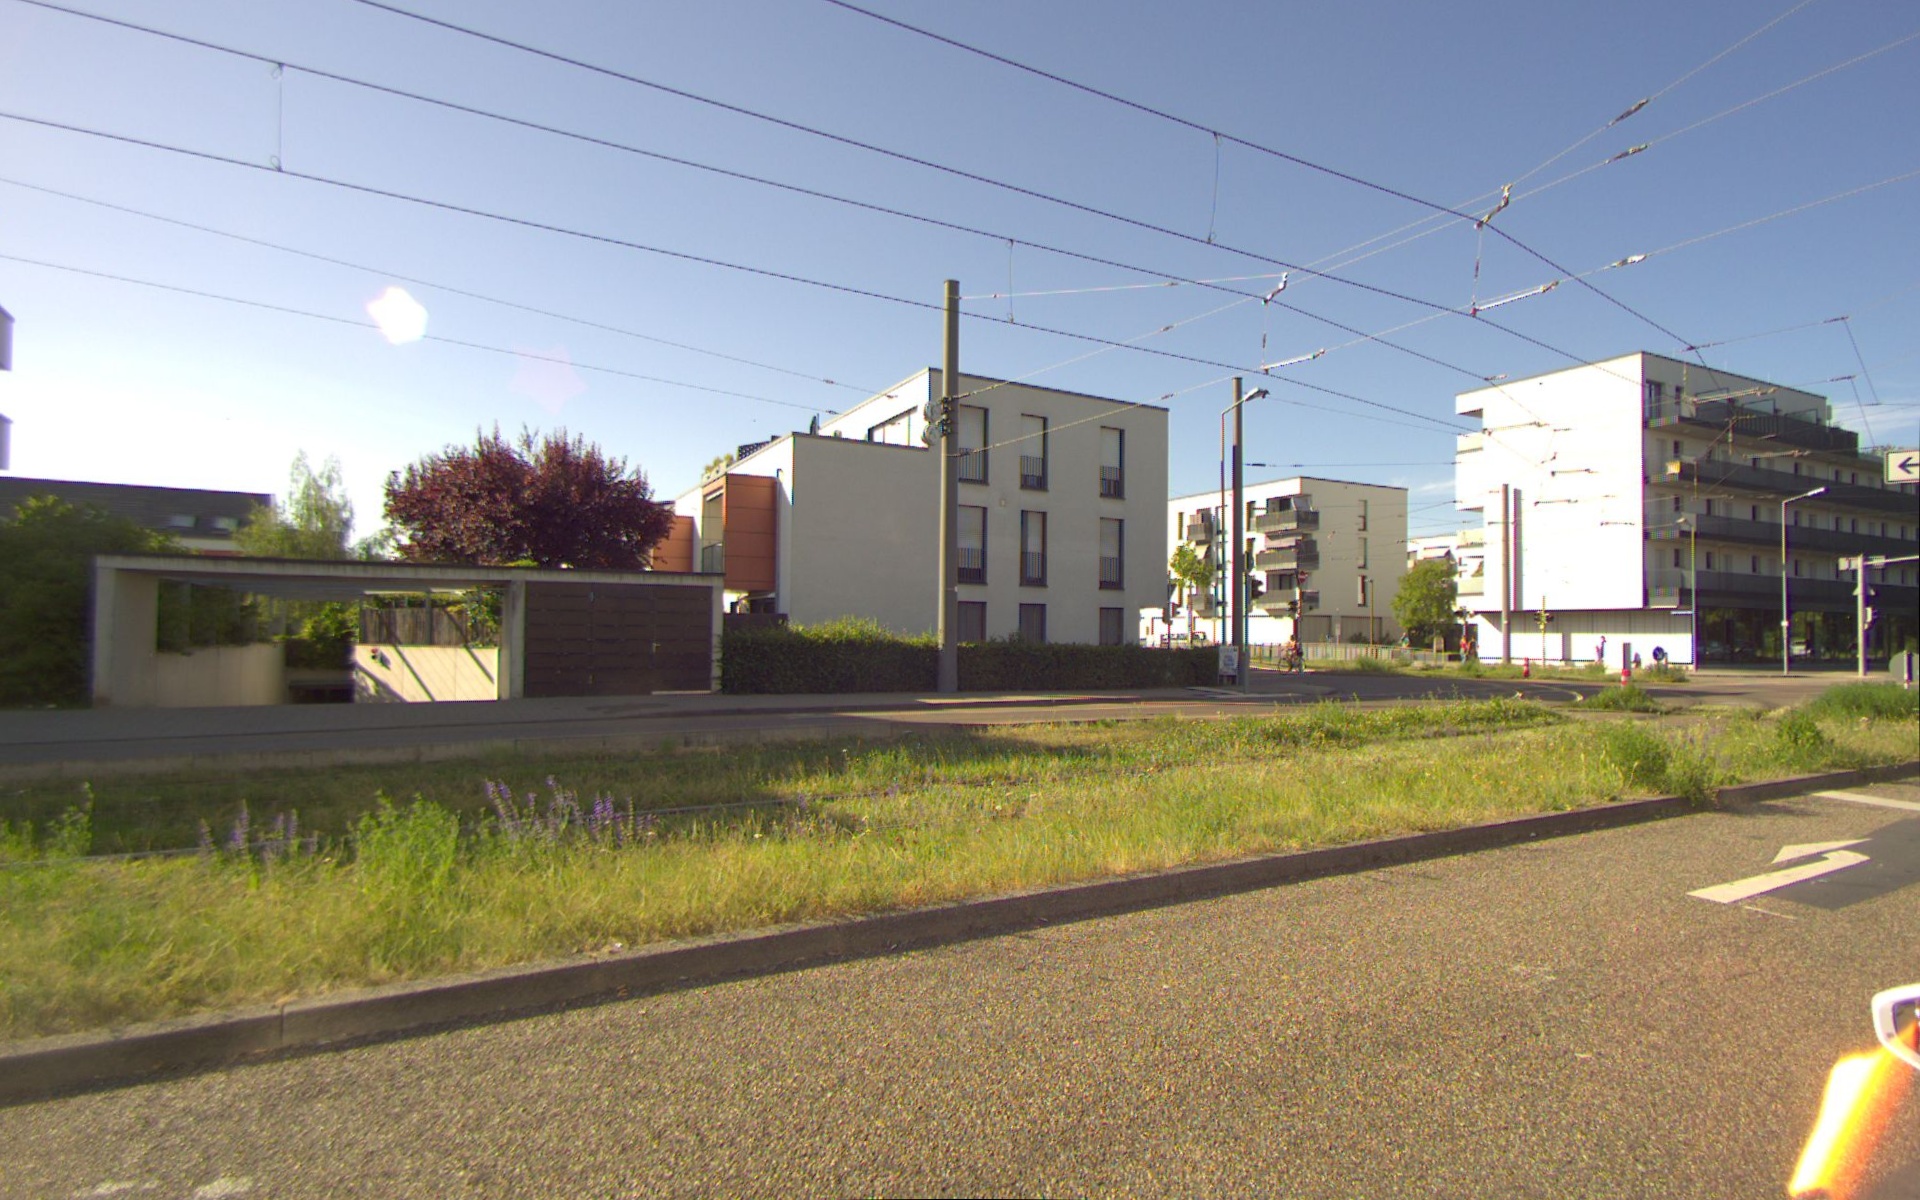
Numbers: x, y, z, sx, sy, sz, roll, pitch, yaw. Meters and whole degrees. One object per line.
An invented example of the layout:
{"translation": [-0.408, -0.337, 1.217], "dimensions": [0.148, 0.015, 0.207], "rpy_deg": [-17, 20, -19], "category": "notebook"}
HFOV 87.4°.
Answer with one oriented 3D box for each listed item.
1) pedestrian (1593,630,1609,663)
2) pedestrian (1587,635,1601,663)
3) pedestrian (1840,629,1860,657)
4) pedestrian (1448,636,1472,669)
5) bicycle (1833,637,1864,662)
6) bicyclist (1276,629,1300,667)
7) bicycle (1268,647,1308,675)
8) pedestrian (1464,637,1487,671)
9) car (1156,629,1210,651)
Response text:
{"translation": [35.002, 2.539, 54.848], "dimensions": [0.513, 1.767, 0.539], "rpy_deg": [2, 0, -35], "category": "pedestrian"}
{"translation": [34.485, 2.663, 54.618], "dimensions": [0.513, 1.523, 0.438], "rpy_deg": [2, 0, -35], "category": "pedestrian"}
{"translation": [48.946, 2.372, 55.256], "dimensions": [0.589, 1.529, 0.640], "rpy_deg": [2, 0, -29], "category": "pedestrian"}
{"translation": [25.033, 2.630, 50.299], "dimensions": [0.736, 1.626, 0.765], "rpy_deg": [2, 0, -37], "category": "pedestrian"}
{"translation": [48.860, 2.730, 55.229], "dimensions": [1.889, 1.350, 0.627], "rpy_deg": [2, 0, -29], "category": "bicycle"}
{"translation": [14.469, 2.109, 44.318], "dimensions": [0.634, 1.635, 0.777], "rpy_deg": [2, 0, -35], "category": "bicyclist"}
{"translation": [14.491, 2.679, 44.407], "dimensions": [1.845, 1.139, 0.813], "rpy_deg": [2, 0, -40], "category": "bicycle"}
{"translation": [25.454, 2.640, 49.606], "dimensions": [0.736, 1.626, 0.765], "rpy_deg": [2, 0, -37], "category": "pedestrian"}
{"translation": [17.776, 3.168, 80.325], "dimensions": [1.974, 1.595, 4.309], "rpy_deg": [2, 0, -27], "category": "car"}
